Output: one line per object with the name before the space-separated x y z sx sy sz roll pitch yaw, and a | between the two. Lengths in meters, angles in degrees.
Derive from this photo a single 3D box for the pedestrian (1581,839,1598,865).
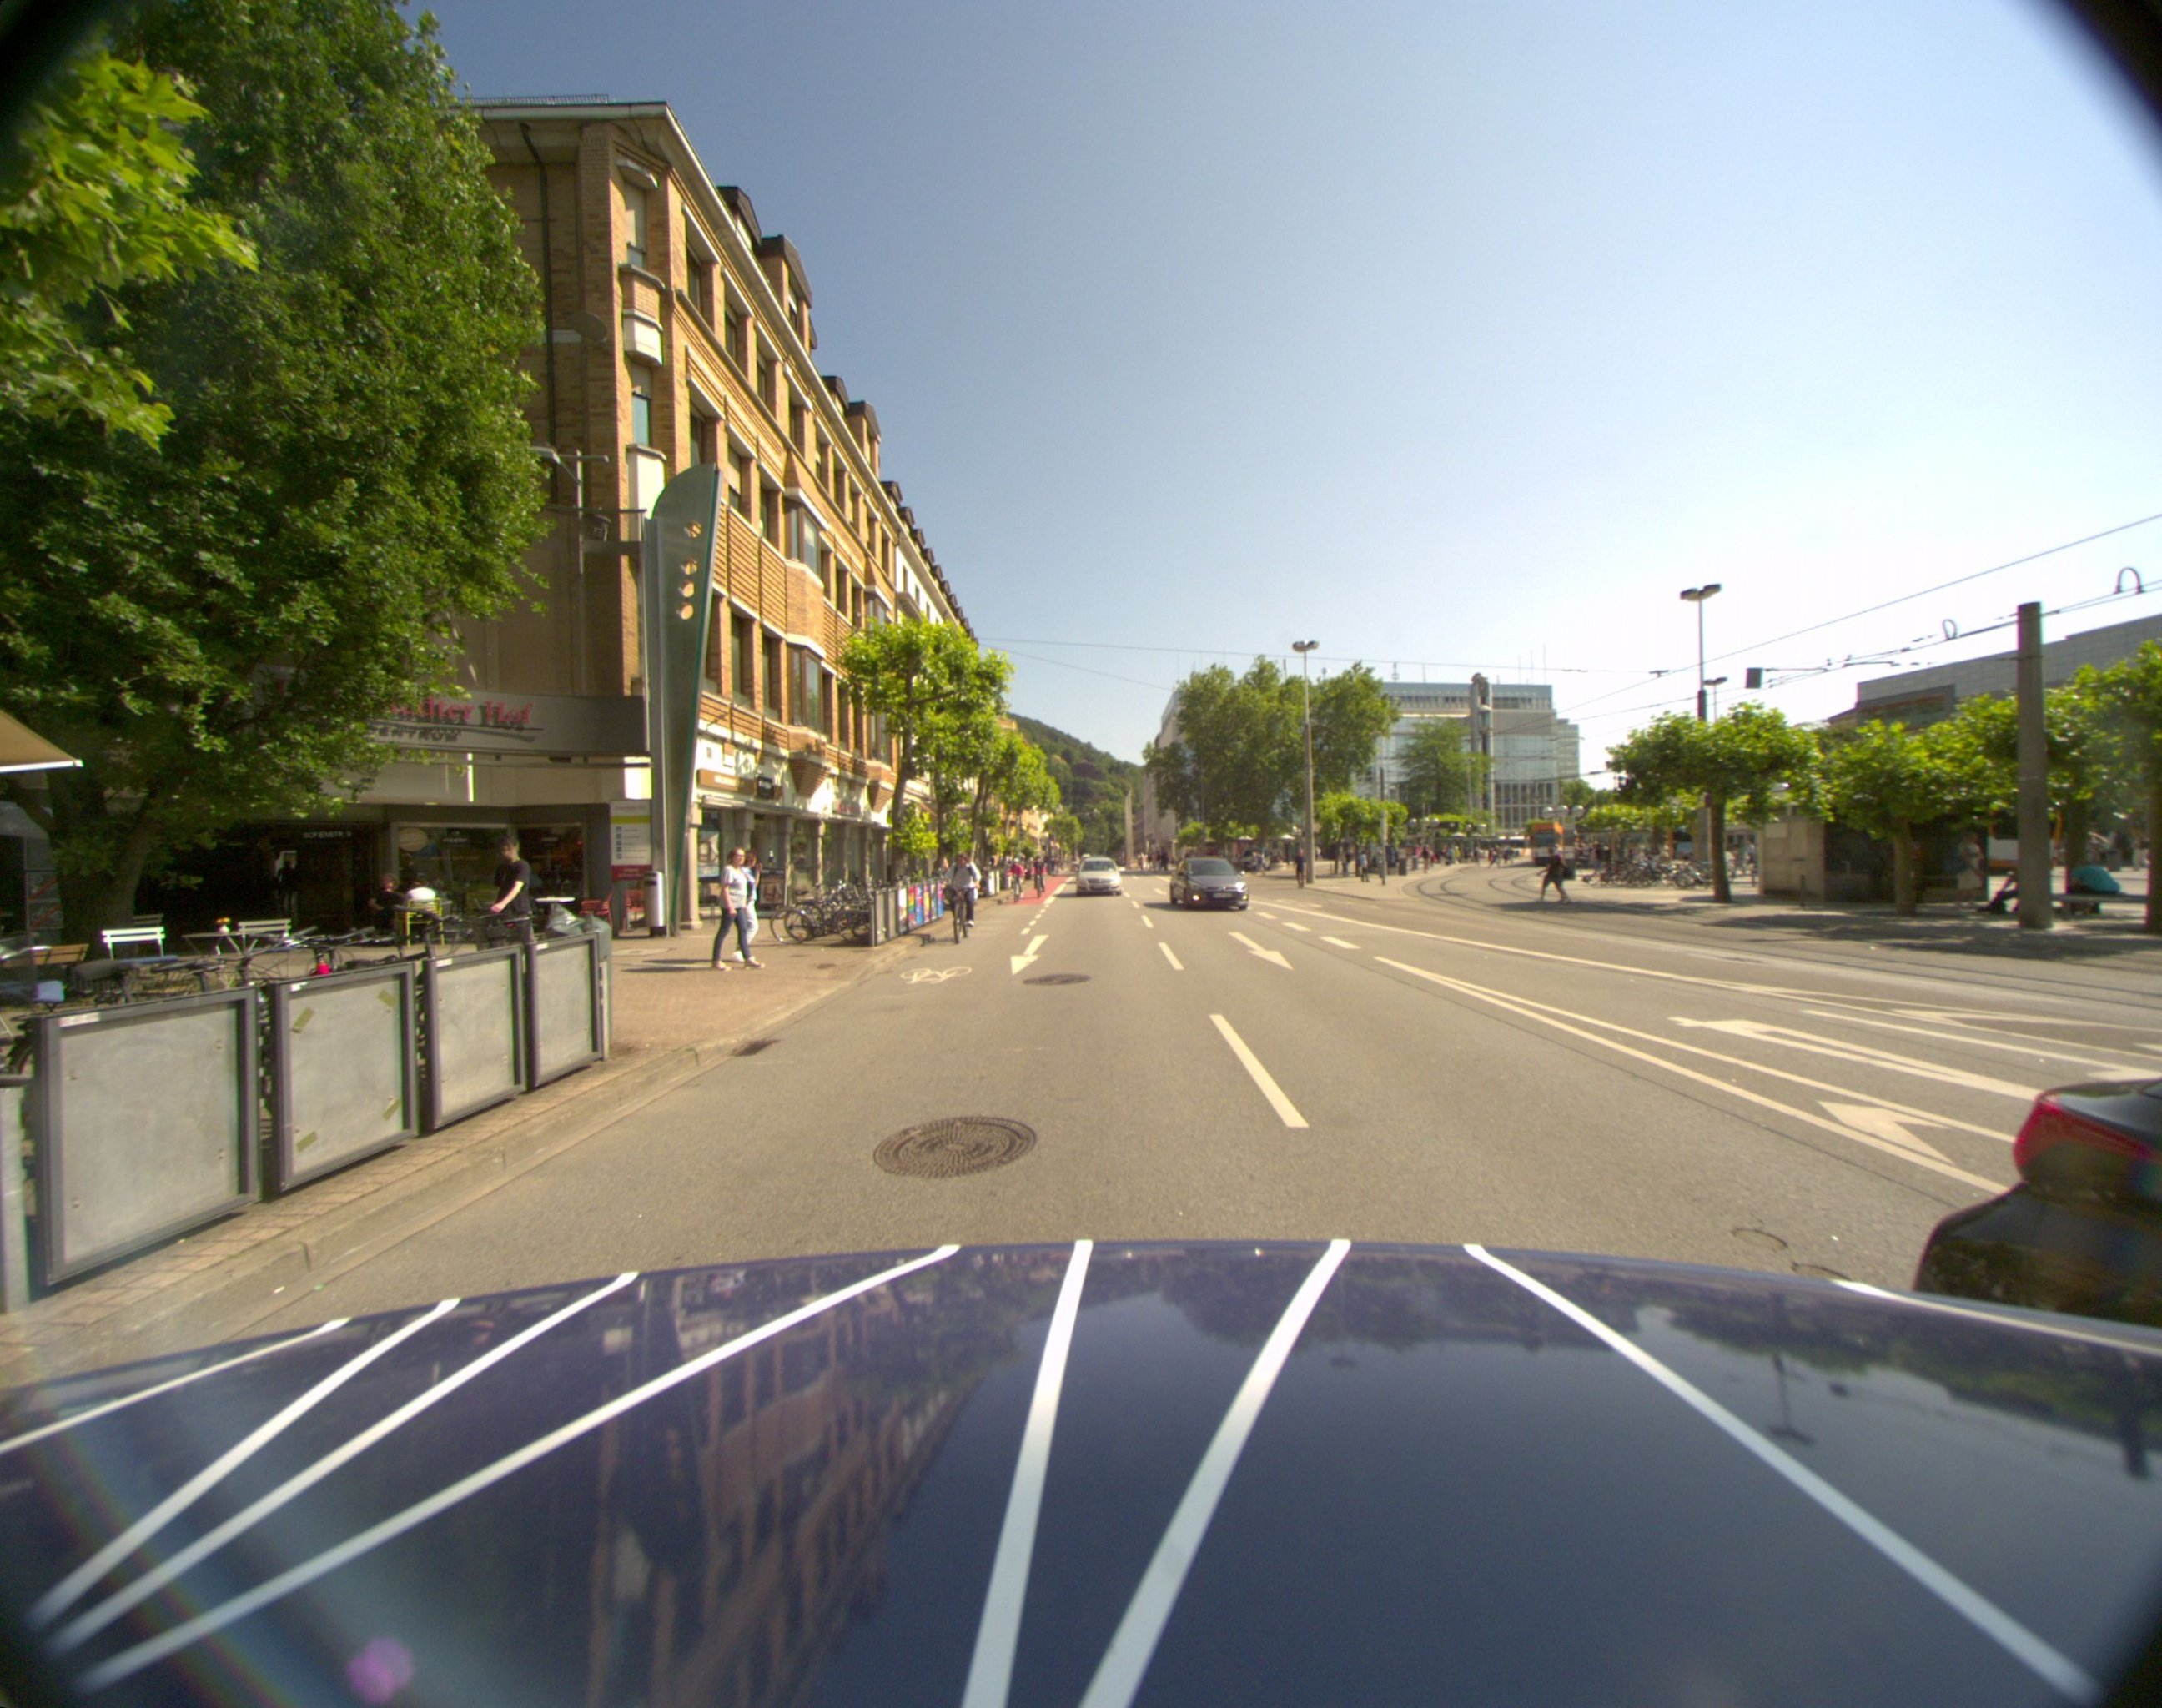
pedestrian | 35.873 -0.143 53.603 0.626 1.784 0.679 1 0 -21

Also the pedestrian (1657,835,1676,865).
pedestrian | 33.791 -0.212 43.853 0.561 1.720 0.588 1 0 -21

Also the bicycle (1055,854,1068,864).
bicycle | -2.510 0.630 97.912 1.757 1.140 0.592 -1 1 -1

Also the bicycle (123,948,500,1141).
bicycle | -4.662 1.138 4.667 1.757 1.012 0.483 -1 1 -1

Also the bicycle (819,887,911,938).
bicycle | -4.424 1.195 15.626 1.721 0.979 0.483 -1 1 -1

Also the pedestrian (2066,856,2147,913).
pedestrian | 21.620 0.639 16.033 0.677 1.164 0.752 1 0 -5

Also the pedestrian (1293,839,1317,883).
pedestrian | 10.279 0.324 34.873 0.897 1.996 0.678 1 1 -43

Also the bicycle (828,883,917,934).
bicycle | -4.440 1.151 16.242 1.757 1.012 0.483 -1 1 -1

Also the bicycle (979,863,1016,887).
bicycle | -4.152 1.037 37.710 1.757 1.140 0.483 -1 1 -1

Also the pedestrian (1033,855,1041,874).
pedestrian | -3.886 0.921 67.070 0.578 1.675 0.775 -3 1 -2

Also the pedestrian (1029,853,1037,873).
pedestrian | -4.329 0.812 68.244 0.578 1.714 0.622 -3 1 -2

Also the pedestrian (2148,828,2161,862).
pedestrian | 46.594 -0.369 32.585 0.624 1.457 0.681 1 0 4

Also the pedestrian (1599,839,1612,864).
pedestrian | 37.293 -0.177 54.042 0.559 1.708 0.465 1 0 -21

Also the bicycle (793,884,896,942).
bicycle | -4.475 1.113 14.434 1.757 1.012 0.483 -1 1 -1

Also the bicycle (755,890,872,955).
bicycle | -4.468 1.138 12.750 1.757 1.012 0.483 -1 1 -1

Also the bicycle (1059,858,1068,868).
bicycle | -1.988 1.038 86.050 0.737 1.086 1.895 2 0 -13

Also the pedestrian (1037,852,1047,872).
pedestrian | -3.351 0.681 65.282 0.579 1.675 0.620 -4 1 -44

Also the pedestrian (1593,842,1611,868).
pedestrian | 28.982 0.062 42.276 0.682 1.410 0.623 -2 1 -37

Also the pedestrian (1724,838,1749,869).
pedestrian | 31.911 -0.020 37.007 0.679 1.457 0.625 1 0 7

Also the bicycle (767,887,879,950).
bicycle | -4.481 1.122 13.270 1.757 1.012 0.483 -1 1 -1

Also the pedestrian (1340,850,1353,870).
pedestrian | 16.357 0.362 46.826 0.577 1.226 0.555 -1 1 35

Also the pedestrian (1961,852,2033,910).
pedestrian | 20.428 0.593 16.952 0.677 1.239 0.752 1 0 -5

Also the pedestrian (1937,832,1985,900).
pedestrian | 21.096 0.290 18.217 0.577 1.600 0.602 1 0 -28

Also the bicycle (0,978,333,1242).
bicycle | -4.653 1.153 3.522 1.757 1.012 0.557 -1 1 -1

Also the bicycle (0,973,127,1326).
bicycle | -4.657 1.079 2.684 1.757 1.174 0.579 -1 1 -1

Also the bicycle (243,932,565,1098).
bicycle | -4.677 1.098 5.311 1.757 1.012 0.483 -1 1 -1

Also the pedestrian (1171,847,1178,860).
pedestrian | 11.755 -0.061 95.276 0.732 1.660 0.640 -3 1 14

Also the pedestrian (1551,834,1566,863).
pedestrian | 28.270 -0.331 44.961 0.473 1.656 0.521 1 0 -21

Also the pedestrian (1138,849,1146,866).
pedestrian | 6.482 0.384 80.594 0.639 1.737 0.733 -3 1 -1

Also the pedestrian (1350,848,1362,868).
pedestrian | 19.856 0.303 54.848 0.727 1.456 0.682 -3 -1 22

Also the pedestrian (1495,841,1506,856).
pedestrian | 41.221 -0.545 74.683 0.757 1.464 0.555 -3 1 1

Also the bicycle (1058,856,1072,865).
bicycle | -2.159 0.832 102.738 1.757 1.140 0.592 -1 1 -1

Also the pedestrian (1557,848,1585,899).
pedestrian | 15.611 0.609 24.202 0.525 1.600 0.627 1 0 10

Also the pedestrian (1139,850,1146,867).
pedestrian | 6.320 0.443 77.671 0.575 1.704 0.652 -3 1 -1

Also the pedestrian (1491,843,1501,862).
pedestrian | 33.502 -0.129 61.333 0.477 1.540 0.451 1 0 -26

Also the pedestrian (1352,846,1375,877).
pedestrian | 14.950 0.388 40.188 0.895 1.649 0.680 -1 1 -8

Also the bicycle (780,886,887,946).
bicycle | -4.487 1.122 13.834 1.757 1.012 0.483 -1 1 -1

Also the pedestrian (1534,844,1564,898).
pedestrian | 15.003 0.541 24.351 0.527 1.723 0.586 1 0 -29

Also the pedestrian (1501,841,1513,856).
pedestrian | 42.350 -0.548 75.564 0.757 1.464 0.555 -3 1 1

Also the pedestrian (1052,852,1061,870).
pedestrian | -2.404 0.647 73.398 0.579 1.675 0.726 -3 1 -22

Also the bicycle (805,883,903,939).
bicycle | -4.460 1.119 14.981 1.757 1.012 0.483 -1 1 -1

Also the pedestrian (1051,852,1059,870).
pedestrian | -2.567 0.666 74.706 0.606 1.726 0.647 -1 1 -22

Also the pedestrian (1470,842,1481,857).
pedestrian | 39.453 -0.458 75.915 0.757 1.464 0.555 -3 1 1

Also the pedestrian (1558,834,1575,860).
pedestrian | 28.261 -0.397 44.259 0.626 1.457 0.552 1 0 -21

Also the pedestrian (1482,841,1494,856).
pedestrian | 40.307 -0.519 75.242 0.757 1.464 0.555 -3 1 1

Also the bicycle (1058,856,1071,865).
bicycle | -2.221 0.825 101.947 1.757 1.140 0.592 -1 1 -1

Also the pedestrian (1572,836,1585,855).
pedestrian | 41.672 -0.730 63.624 0.681 1.540 0.577 1 0 -26

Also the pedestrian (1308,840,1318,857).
pedestrian | 24.431 -0.543 80.017 0.752 1.737 0.782 -3 1 -9

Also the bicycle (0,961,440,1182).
bicycle | -4.652 1.146 4.152 1.757 1.012 0.587 -1 1 -1

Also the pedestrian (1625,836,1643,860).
pedestrian | 35.474 -0.373 48.749 0.626 1.492 0.679 1 0 -21

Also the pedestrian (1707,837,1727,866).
pedestrian | 34.608 -0.132 41.360 0.600 1.543 0.530 1 0 4
